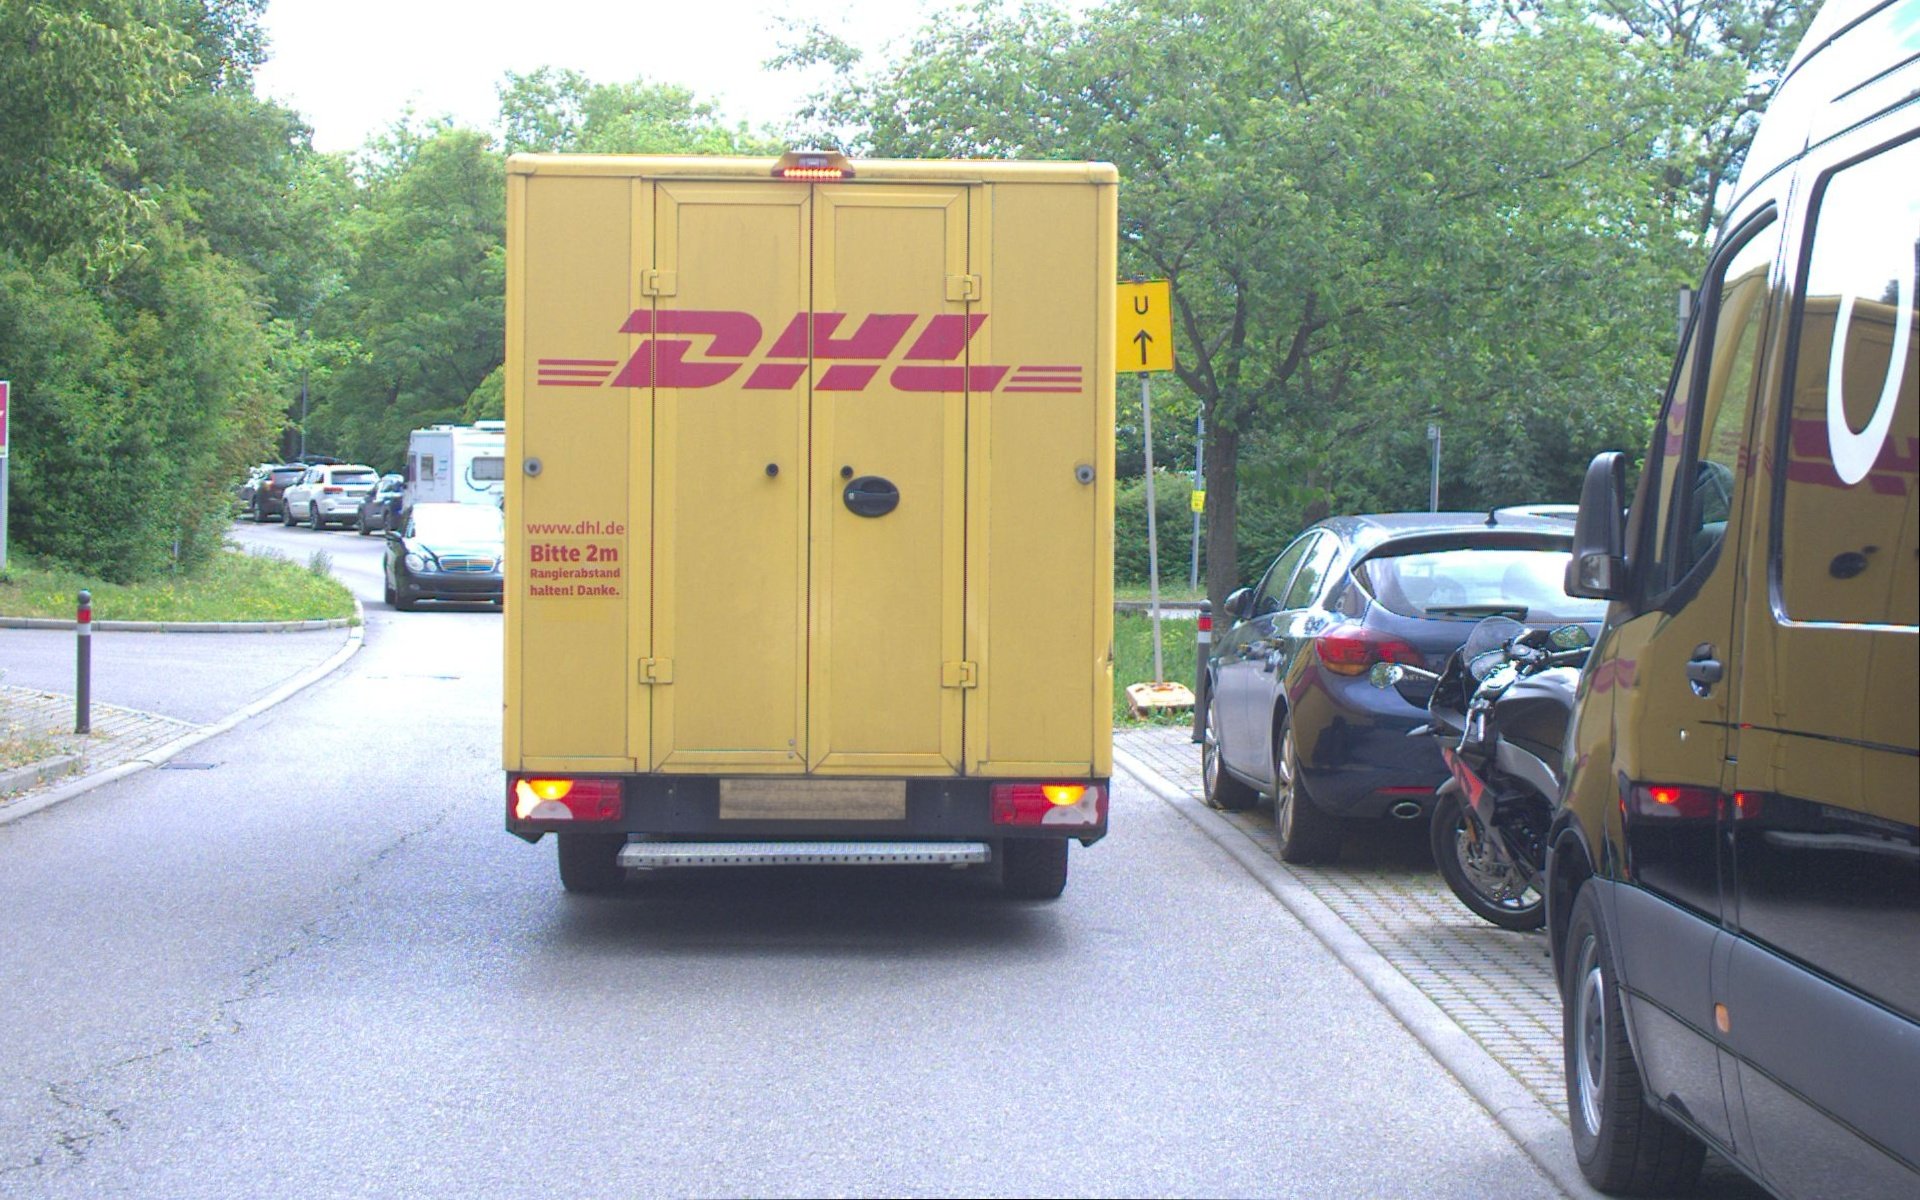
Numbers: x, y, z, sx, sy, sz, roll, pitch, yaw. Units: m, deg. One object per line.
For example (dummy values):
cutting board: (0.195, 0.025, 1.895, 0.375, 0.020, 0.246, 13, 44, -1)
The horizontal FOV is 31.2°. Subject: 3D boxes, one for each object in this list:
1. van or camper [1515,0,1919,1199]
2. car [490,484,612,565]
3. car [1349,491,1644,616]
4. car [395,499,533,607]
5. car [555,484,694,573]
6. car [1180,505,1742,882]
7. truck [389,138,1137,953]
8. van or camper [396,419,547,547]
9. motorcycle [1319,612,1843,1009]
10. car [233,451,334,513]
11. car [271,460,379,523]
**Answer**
van or camper: (2.318, 0.107, 5.202, 1.993, 2.514, 5.471, 0, 1, -1)
car: (-8.853, -1.642, 74.213, 1.843, 1.524, 4.002, 1, 3, -18)
car: (7.198, -0.645, 46.352, 3.630, 1.481, 1.691, 2, 3, -1)
car: (-6.802, -0.674, 47.435, 1.674, 1.350, 3.970, 2, 2, -6)
car: (-6.563, -1.411, 66.872, 1.843, 1.524, 4.002, 1, 3, -18)
car: (2.106, 0.339, 15.555, 1.728, 1.428, 3.969, 2, 1, -3)
truck: (-0.822, -0.280, 14.862, 2.466, 2.693, 6.826, 0, 2, -3)
van or camper: (-11.557, -2.804, 81.069, 2.323, 2.862, 5.262, 1, 3, -21)
motorcycle: (1.983, 0.643, 11.367, 0.898, 1.107, 2.086, 2, 2, -14)
car: (-19.464, -3.396, 98.760, 1.843, 1.608, 4.001, 1, 3, -26)
car: (-17.228, -2.946, 93.158, 1.843, 1.524, 4.001, 1, 3, -26)
